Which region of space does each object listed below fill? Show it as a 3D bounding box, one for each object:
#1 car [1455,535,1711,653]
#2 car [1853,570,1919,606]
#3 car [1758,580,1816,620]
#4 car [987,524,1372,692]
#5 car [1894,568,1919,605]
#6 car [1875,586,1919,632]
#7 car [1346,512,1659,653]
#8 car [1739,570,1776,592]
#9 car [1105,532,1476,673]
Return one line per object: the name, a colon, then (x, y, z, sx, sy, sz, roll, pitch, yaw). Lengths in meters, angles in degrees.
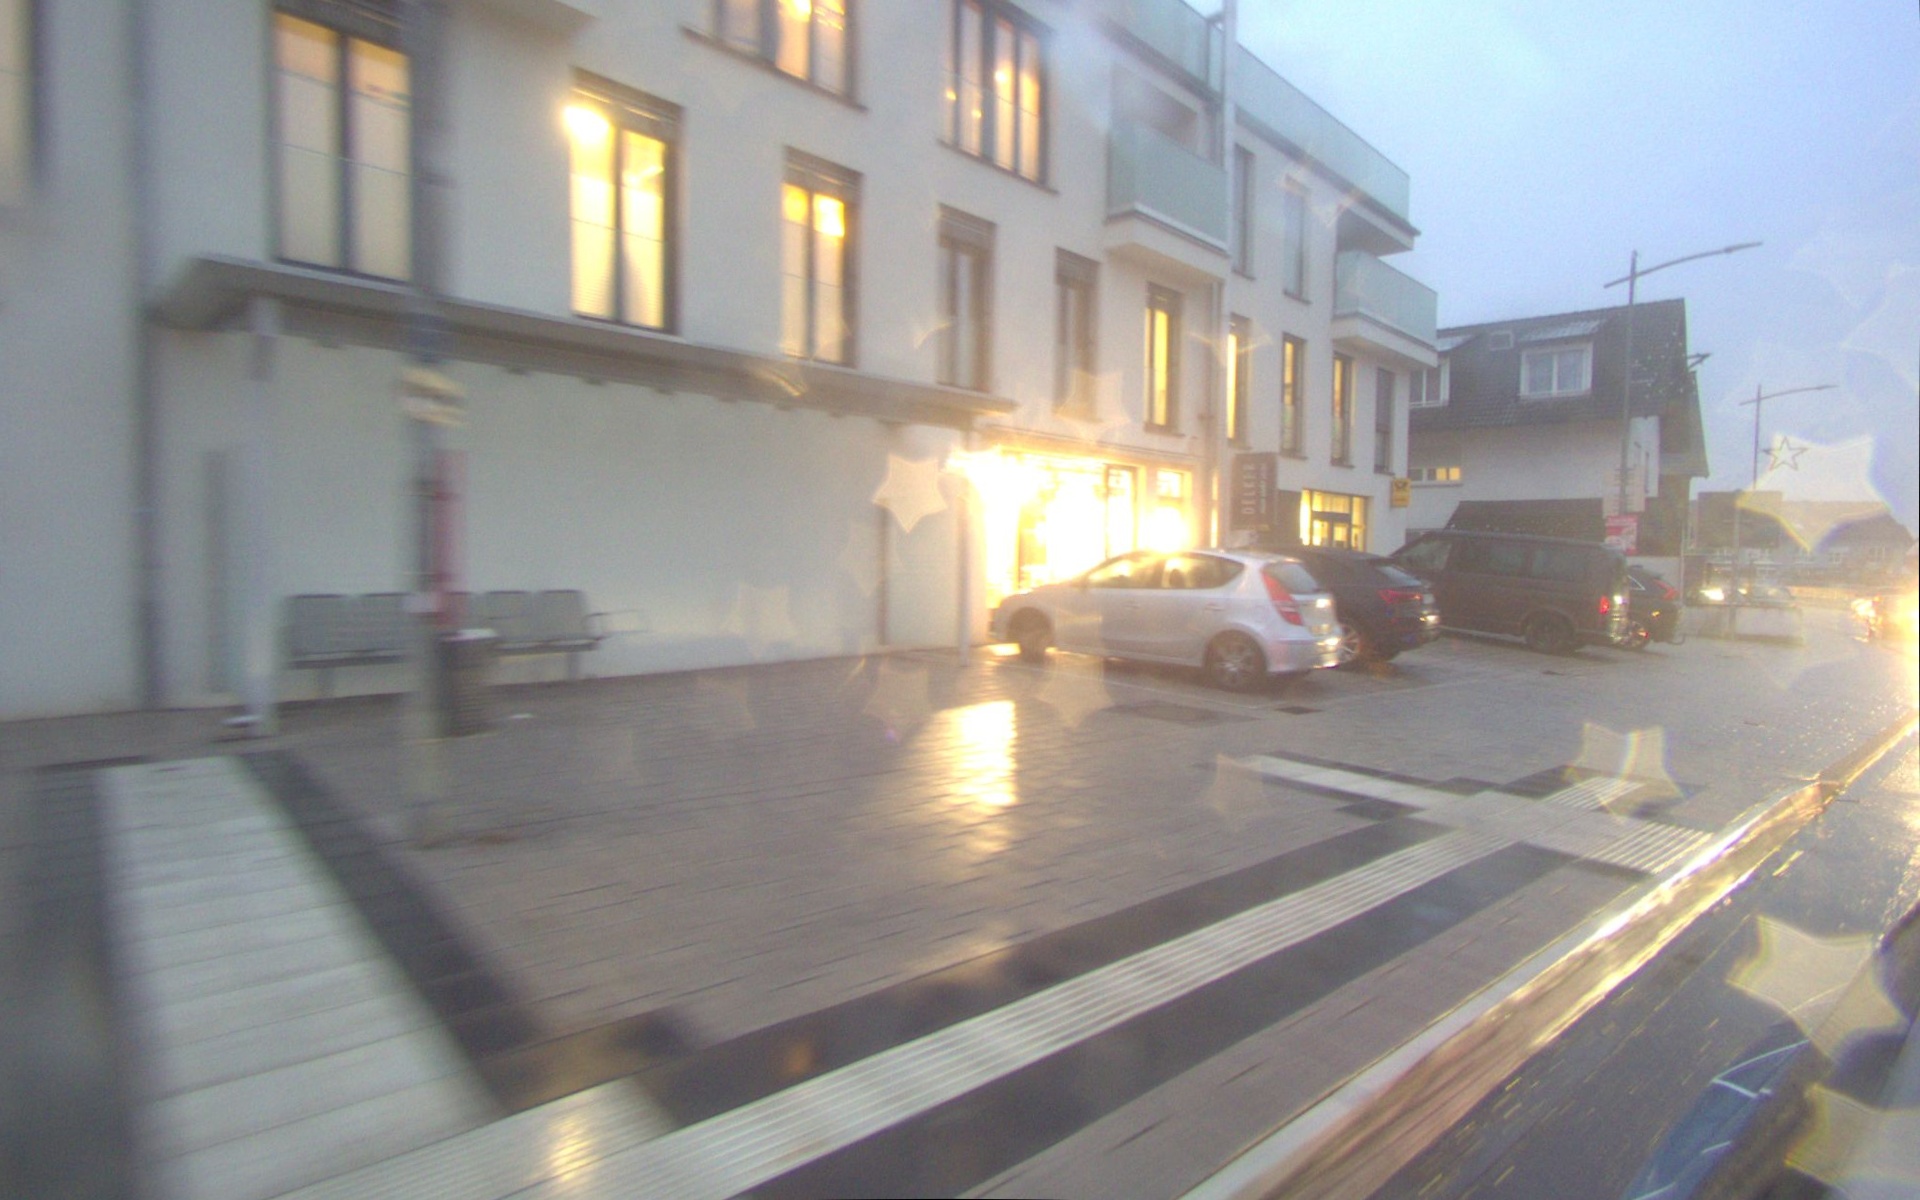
car: (12.682, -0.207, 20.738, 4.136, 1.653, 1.731, 12, 9, 38)
car: (45.761, -0.613, 49.819, 1.768, 1.641, 3.918, 3, 2, 28)
car: (36.485, -0.030, 44.659, 1.841, 1.606, 3.715, 3, 2, 40)
car: (2.469, -0.028, 11.846, 3.980, 1.521, 1.789, 6, 4, 38)
car: (55.057, -0.764, 57.422, 1.982, 2.038, 3.962, 1, 2, 28)
car: (32.340, 0.284, 34.273, 1.734, 1.461, 3.944, 1, 1, 39)
car: (9.750, -0.401, 18.453, 4.544, 1.956, 1.944, 10, 6, 43)
car: (74.163, -1.789, 94.123, 1.982, 2.038, 3.962, 1, 2, 28)
car: (4.481, -0.103, 14.180, 4.507, 1.510, 1.946, 6, 6, 42)
